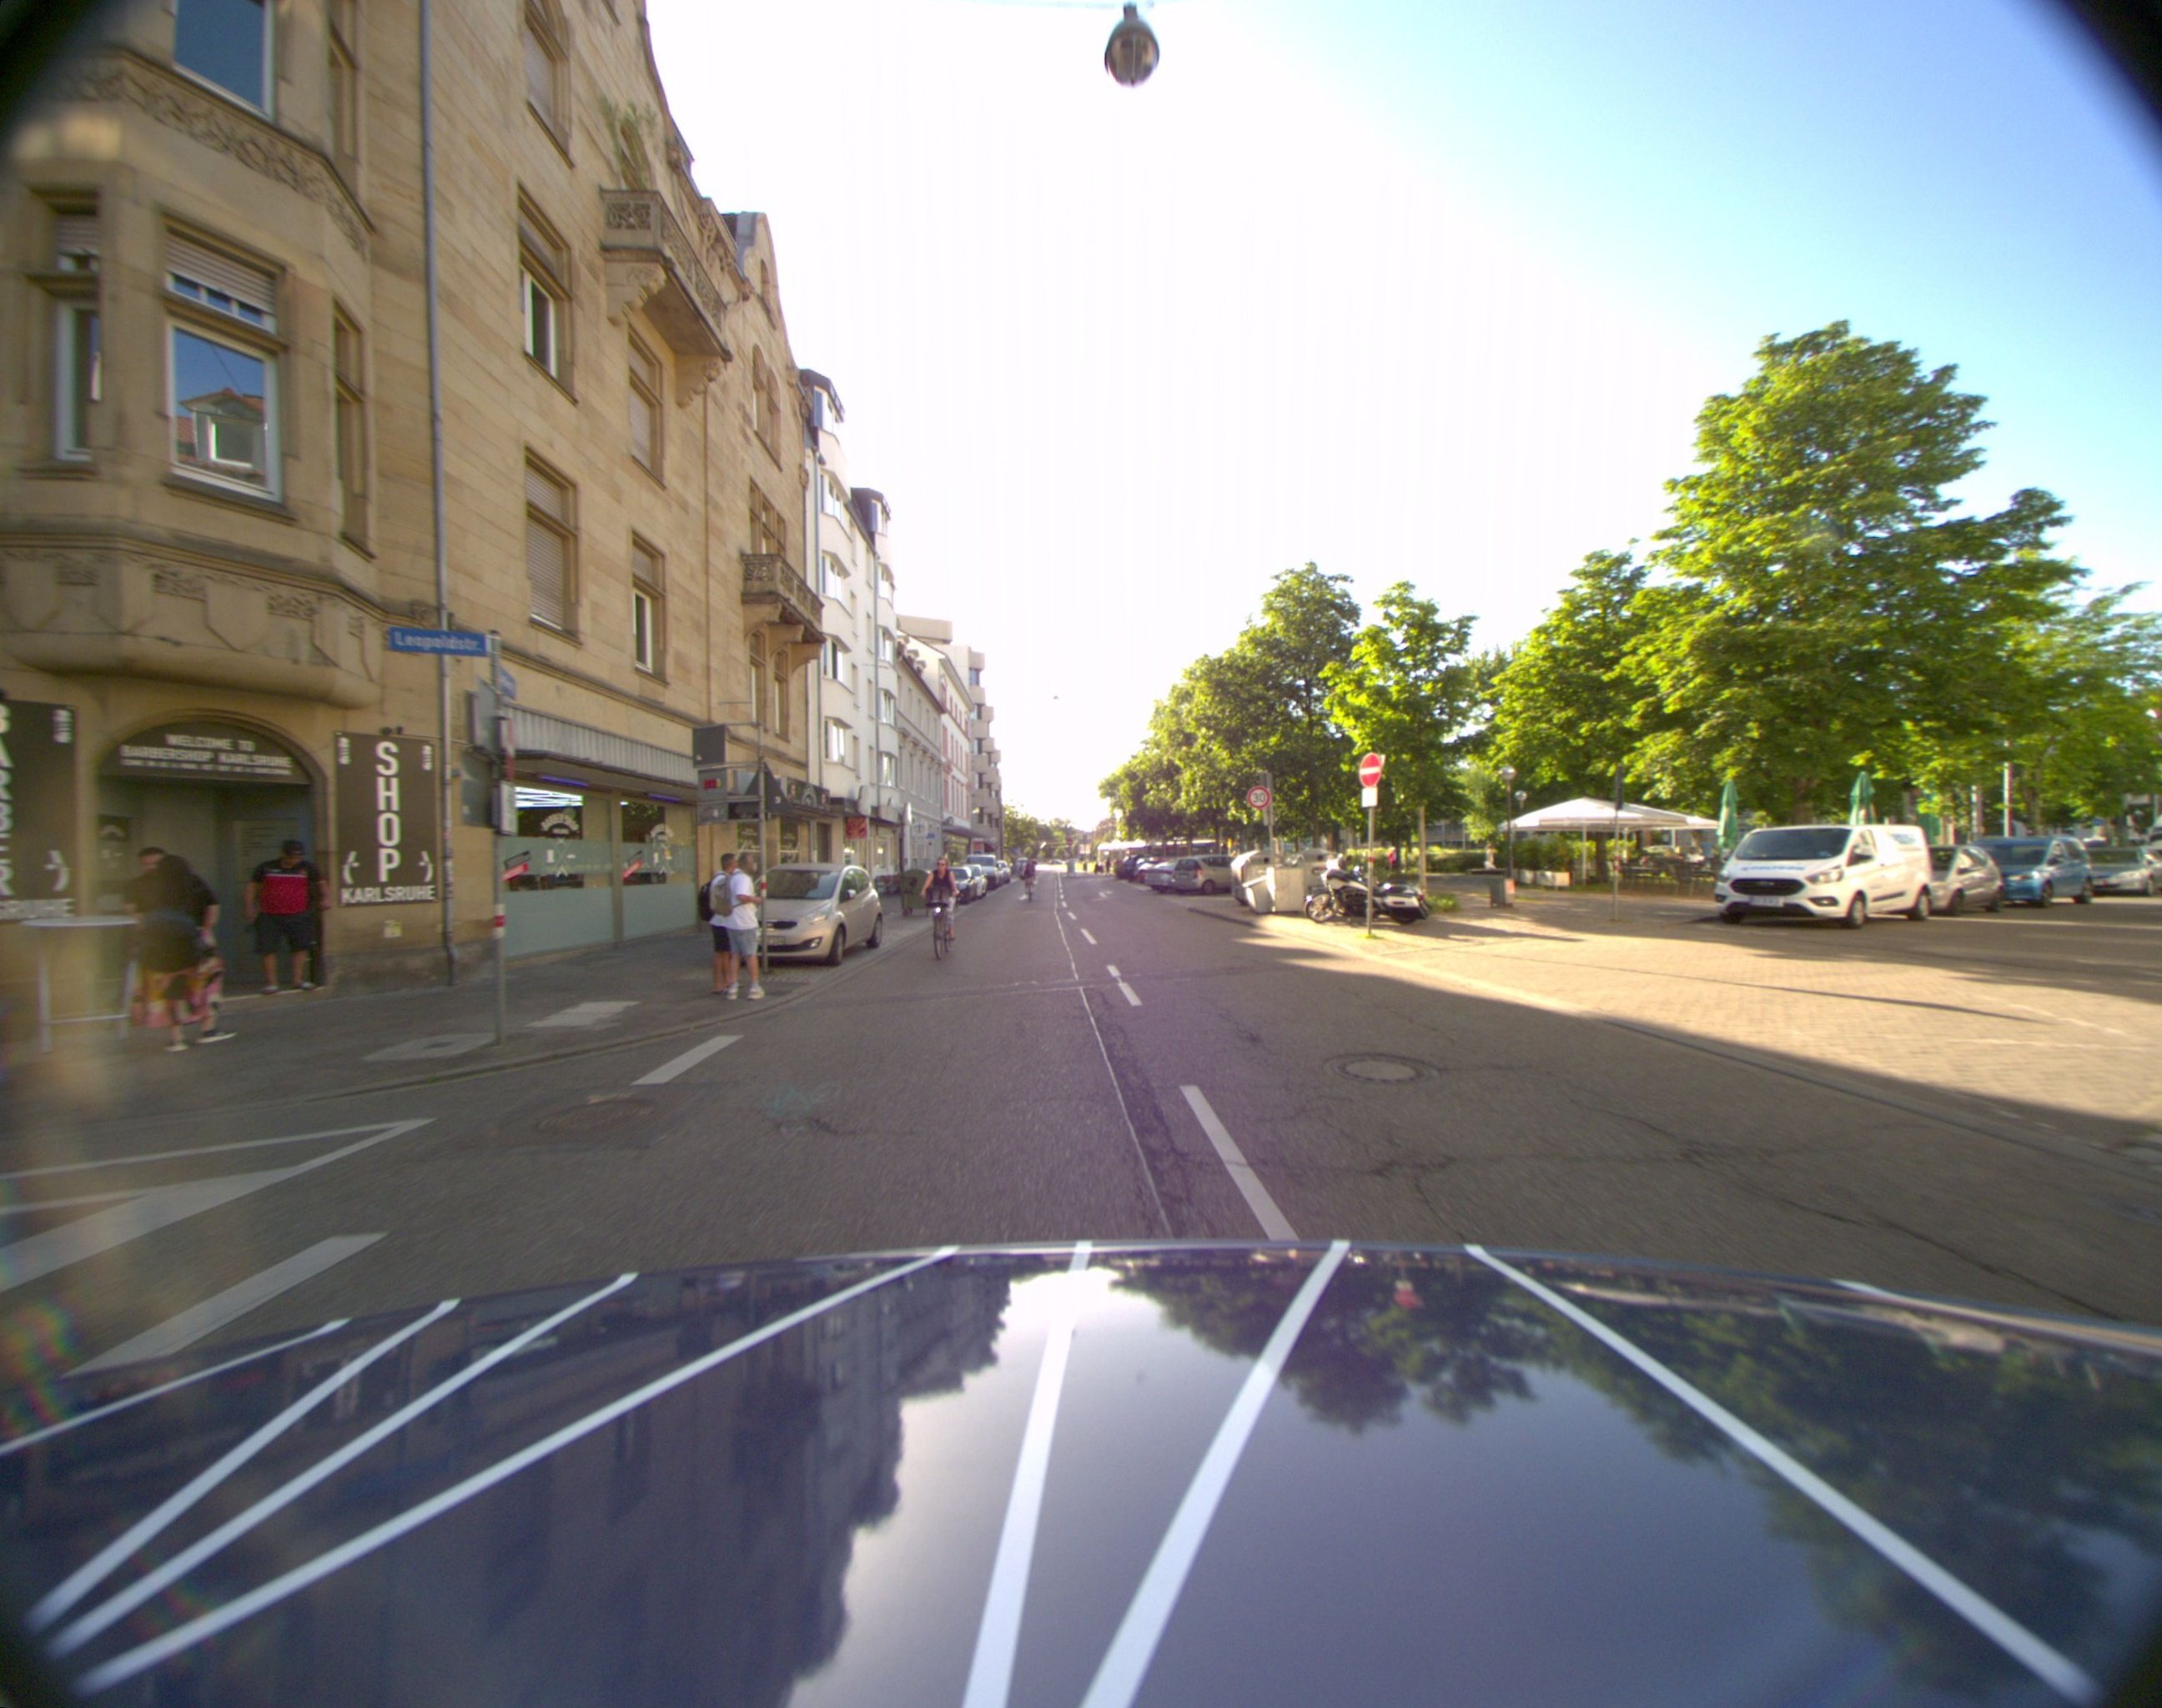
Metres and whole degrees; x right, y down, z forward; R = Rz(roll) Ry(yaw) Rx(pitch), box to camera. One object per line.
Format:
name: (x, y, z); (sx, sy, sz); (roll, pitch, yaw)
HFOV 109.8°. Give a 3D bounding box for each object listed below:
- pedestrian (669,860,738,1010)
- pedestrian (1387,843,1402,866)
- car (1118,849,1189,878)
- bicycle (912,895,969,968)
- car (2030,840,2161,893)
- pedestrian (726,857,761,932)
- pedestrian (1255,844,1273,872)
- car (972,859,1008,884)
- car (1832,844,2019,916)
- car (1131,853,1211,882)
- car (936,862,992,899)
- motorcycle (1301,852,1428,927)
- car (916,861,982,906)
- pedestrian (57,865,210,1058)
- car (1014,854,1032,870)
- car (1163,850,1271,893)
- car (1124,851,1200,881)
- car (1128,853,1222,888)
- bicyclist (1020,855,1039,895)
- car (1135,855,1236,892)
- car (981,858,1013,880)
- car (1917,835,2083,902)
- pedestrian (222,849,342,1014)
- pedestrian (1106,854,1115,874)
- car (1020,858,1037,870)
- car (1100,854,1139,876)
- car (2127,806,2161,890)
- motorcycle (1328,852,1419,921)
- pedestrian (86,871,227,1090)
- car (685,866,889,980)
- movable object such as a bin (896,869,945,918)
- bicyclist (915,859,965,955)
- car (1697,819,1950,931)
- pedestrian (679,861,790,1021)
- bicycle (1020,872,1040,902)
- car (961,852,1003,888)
pedestrian: (-4.518, 0.932, 9.128); (0.699, 1.709, 0.693); (1, 0, -25)
pedestrian: (17.866, 0.028, 43.292); (0.527, 1.250, 0.519); (-1, 0, -20)
car: (4.559, 0.593, 47.865); (4.004, 1.684, 1.996); (-2, 0, -21)
bicycle: (-2.395, 1.300, 13.176); (0.666, 1.061, 1.836); (-2, 0, -2)
car: (31.600, 0.377, 23.560); (4.157, 1.508, 1.924); (0, 0, -27)
pedestrian: (-7.991, 0.944, 18.000); (0.536, 1.732, 0.598); (-2, 1, -6)
pedestrian: (8.208, 0.169, 34.071); (0.521, 1.250, 0.525); (-1, 1, -35)
car: (-5.798, 1.084, 48.684); (1.999, 1.444, 3.868); (1, 0, -3)
car: (19.720, 0.562, 17.730); (4.157, 1.508, 1.924); (0, 0, -27)
car: (5.018, 0.732, 42.515); (4.002, 1.465, 1.997); (-2, 0, -15)
car: (-5.184, 1.138, 34.217); (1.999, 1.482, 3.999); (1, 0, -2)
motorcycle: (5.758, 0.704, 15.433); (2.316, 1.415, 1.002); (-2, 0, 25)
car: (-5.146, 1.115, 30.080); (1.999, 1.565, 3.999); (1, 0, -2)
pedestrian: (-8.882, 0.958, 7.139); (0.618, 1.683, 0.717); (-1, 1, 25)
car: (-7.351, 0.993, 96.667); (1.999, 2.002, 3.999); (-2, 0, -2)
car: (5.566, 0.681, 30.966); (4.007, 1.553, 1.995); (-2, 0, -33)
car: (4.805, 0.674, 45.189); (4.004, 1.635, 2.099); (-2, 2, -22)
car: (4.514, 0.761, 36.297); (4.005, 1.465, 1.996); (-2, 0, -28)
bicyclist: (-2.062, 0.839, 30.759); (0.718, 1.553, 0.863); (-1, 1, -3)
car: (4.588, 0.816, 33.151); (4.007, 1.433, 1.995); (-2, 0, -33)
car: (-5.854, 1.031, 53.535); (1.999, 1.444, 3.954); (1, 0, -3)
car: (24.096, 0.357, 19.922); (4.157, 1.603, 1.924); (0, 0, -27)
pedestrian: (-8.587, 0.797, 8.183); (0.498, 1.683, 0.717); (-1, 1, 25)
pedestrian: (2.460, 0.822, 63.182); (0.691, 1.578, 0.615); (-1, 1, 8)
car: (-7.166, 1.322, 103.590); (1.998, 1.494, 4.000); (-2, 0, 0)
car: (2.806, 0.775, 54.148); (1.772, 1.421, 4.005); (-2, 0, 18)
car: (42.134, -0.222, 28.782); (5.906, 3.067, 2.114); (0, 0, -28)
motorcycle: (6.289, 0.687, 16.342); (1.750, 1.415, 0.831); (-2, 0, 25)
pedestrian: (-7.771, 1.008, 6.422); (0.617, 1.682, 0.677); (2, 3, 42)
car: (-4.780, 1.029, 13.073); (1.979, 1.565, 4.126); (1, 0, -2)
movable object such as a bin: (-4.930, 1.198, 23.456); (1.147, 1.413, 1.411); (2, 0, 2)
bicyclist: (-2.409, 0.885, 13.052); (0.658, 1.562, 0.909); (-2, 0, -2)
car: (14.954, 0.370, 15.243); (5.336, 1.933, 2.070); (0, 0, -28)
pedestrian: (-3.963, 0.941, 8.732); (0.693, 1.709, 0.896); (1, 0, 22)
bicycle: (-2.057, 1.328, 30.928); (0.718, 1.105, 2.268); (-1, 0, -3)
car: (-5.592, 0.868, 43.566); (1.999, 1.942, 5.099); (1, 0, -4)
